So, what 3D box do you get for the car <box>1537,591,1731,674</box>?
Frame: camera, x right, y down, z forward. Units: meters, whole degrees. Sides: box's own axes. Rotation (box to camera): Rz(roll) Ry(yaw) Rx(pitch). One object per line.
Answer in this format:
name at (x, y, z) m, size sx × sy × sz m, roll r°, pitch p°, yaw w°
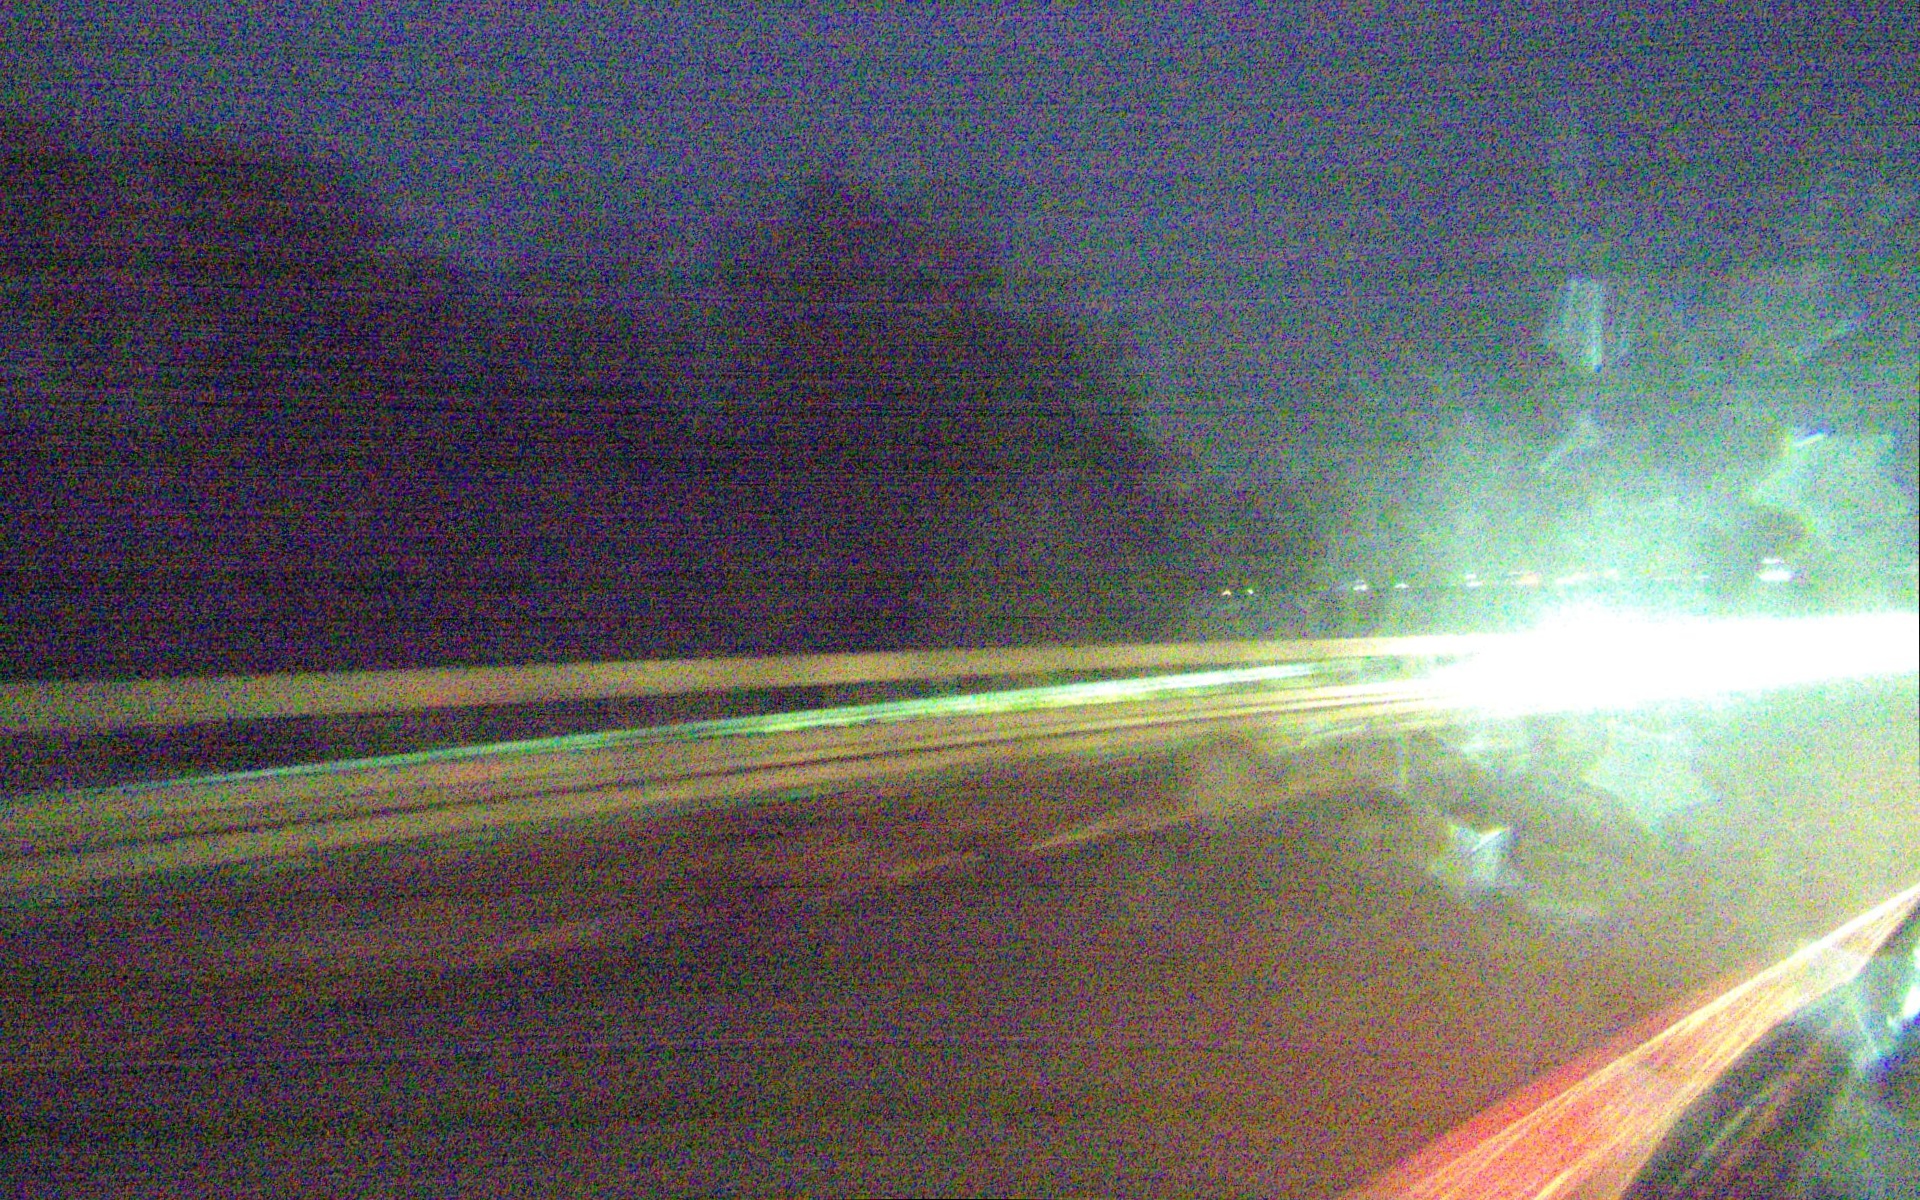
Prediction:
car at (16.079, 0.763, 24.151) m, size 4.034 × 1.706 × 1.745 m, roll -2°, pitch -3°, yaw -21°
